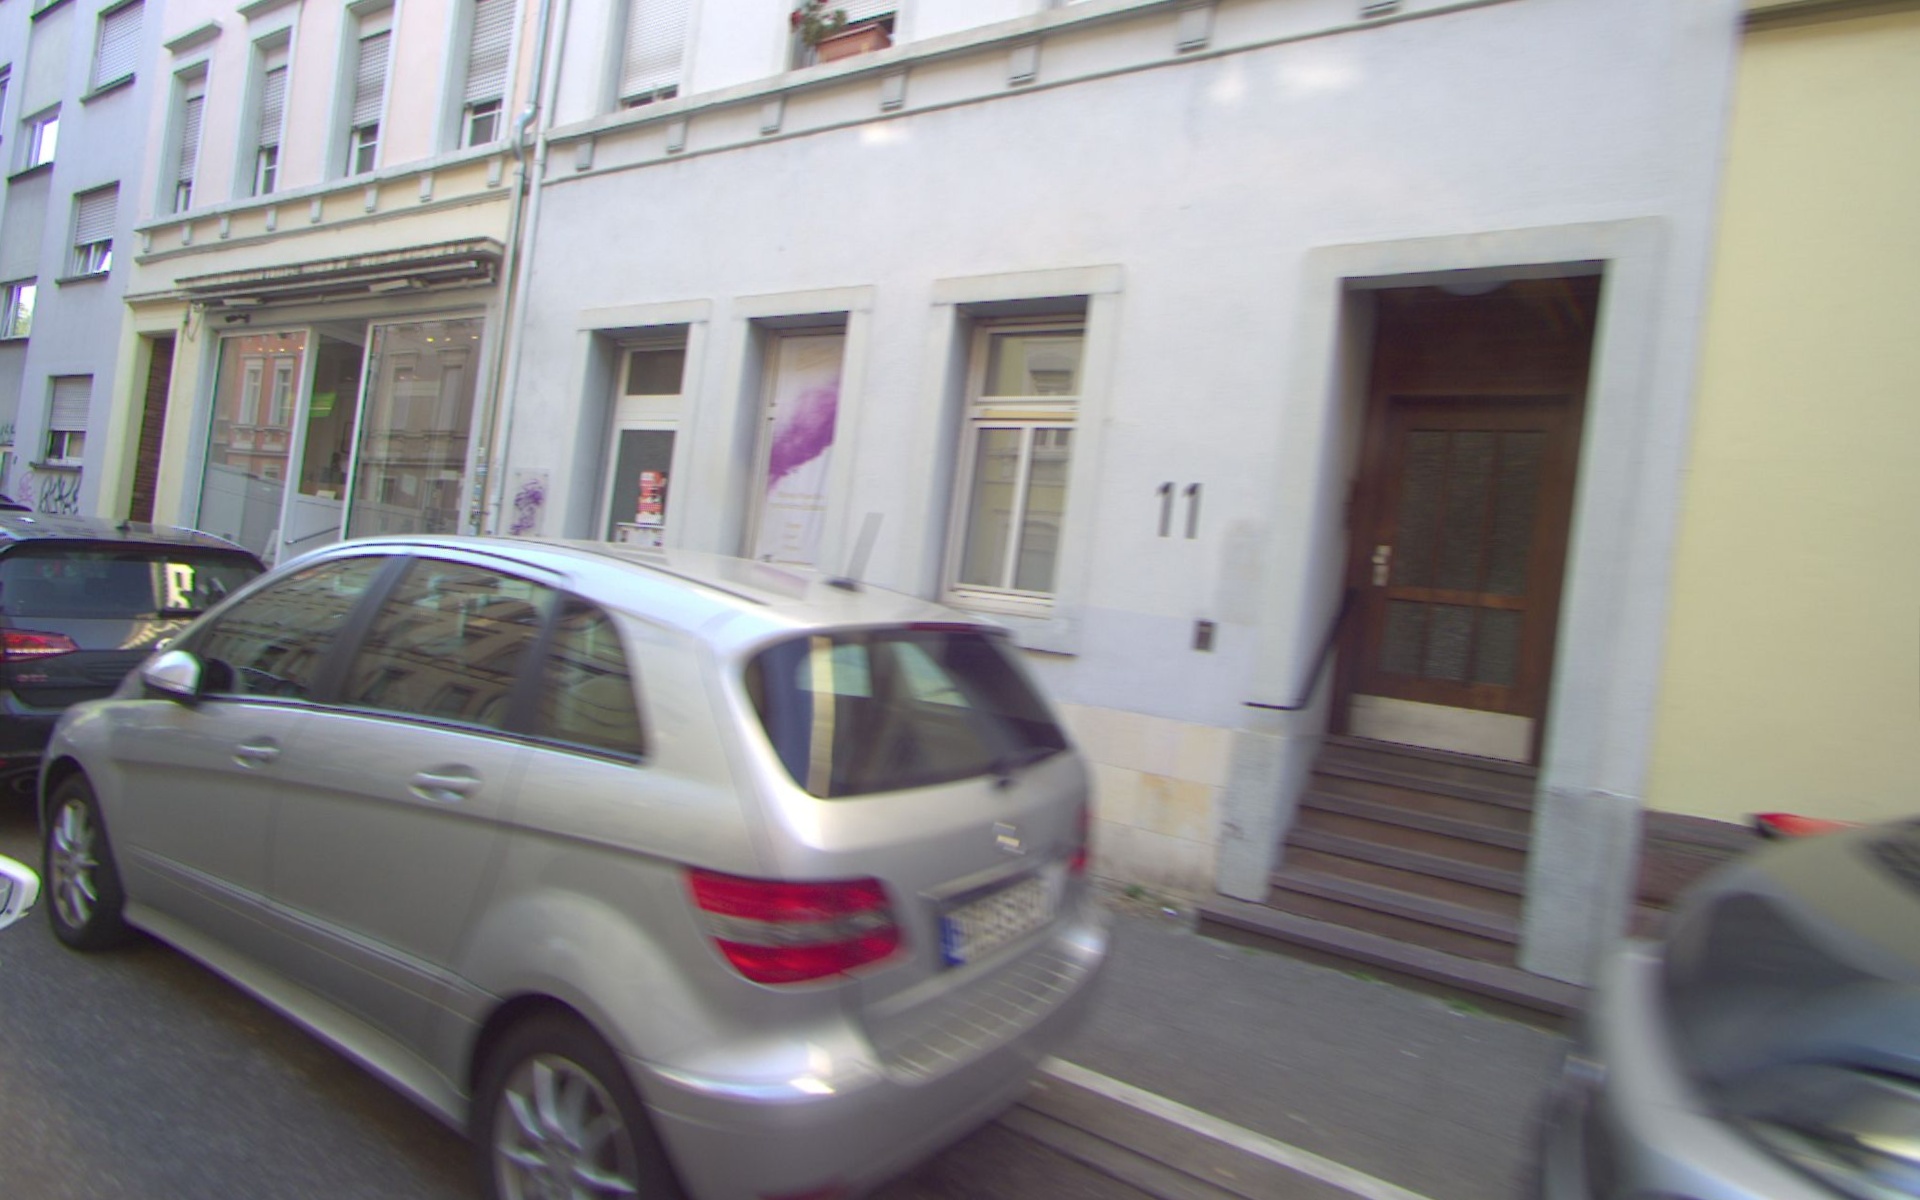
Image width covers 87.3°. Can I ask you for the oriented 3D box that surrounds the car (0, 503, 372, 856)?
[{"bbox_3d":[-5.569,0.209,5.954,4.172,1.503,1.749,7,-1,32],"label":"car"}]

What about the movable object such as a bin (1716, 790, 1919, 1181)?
[{"bbox_3d":[3.242,1.316,3.554,0.696,1.056,0.863,7,2,30],"label":"movable object such as a bin"}]

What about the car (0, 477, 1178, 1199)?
[{"bbox_3d":[-1.658,0.587,3.569,4.302,1.628,1.695,7,1,32],"label":"car"}]

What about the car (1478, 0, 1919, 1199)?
[{"bbox_3d":[3.682,0.720,0.237,6.204,2.455,2.177,7,0,32],"label":"car"}]

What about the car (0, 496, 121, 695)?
[{"bbox_3d":[-9.582,-0.277,8.561,4.524,1.497,1.815,7,2,22],"label":"car"}]
